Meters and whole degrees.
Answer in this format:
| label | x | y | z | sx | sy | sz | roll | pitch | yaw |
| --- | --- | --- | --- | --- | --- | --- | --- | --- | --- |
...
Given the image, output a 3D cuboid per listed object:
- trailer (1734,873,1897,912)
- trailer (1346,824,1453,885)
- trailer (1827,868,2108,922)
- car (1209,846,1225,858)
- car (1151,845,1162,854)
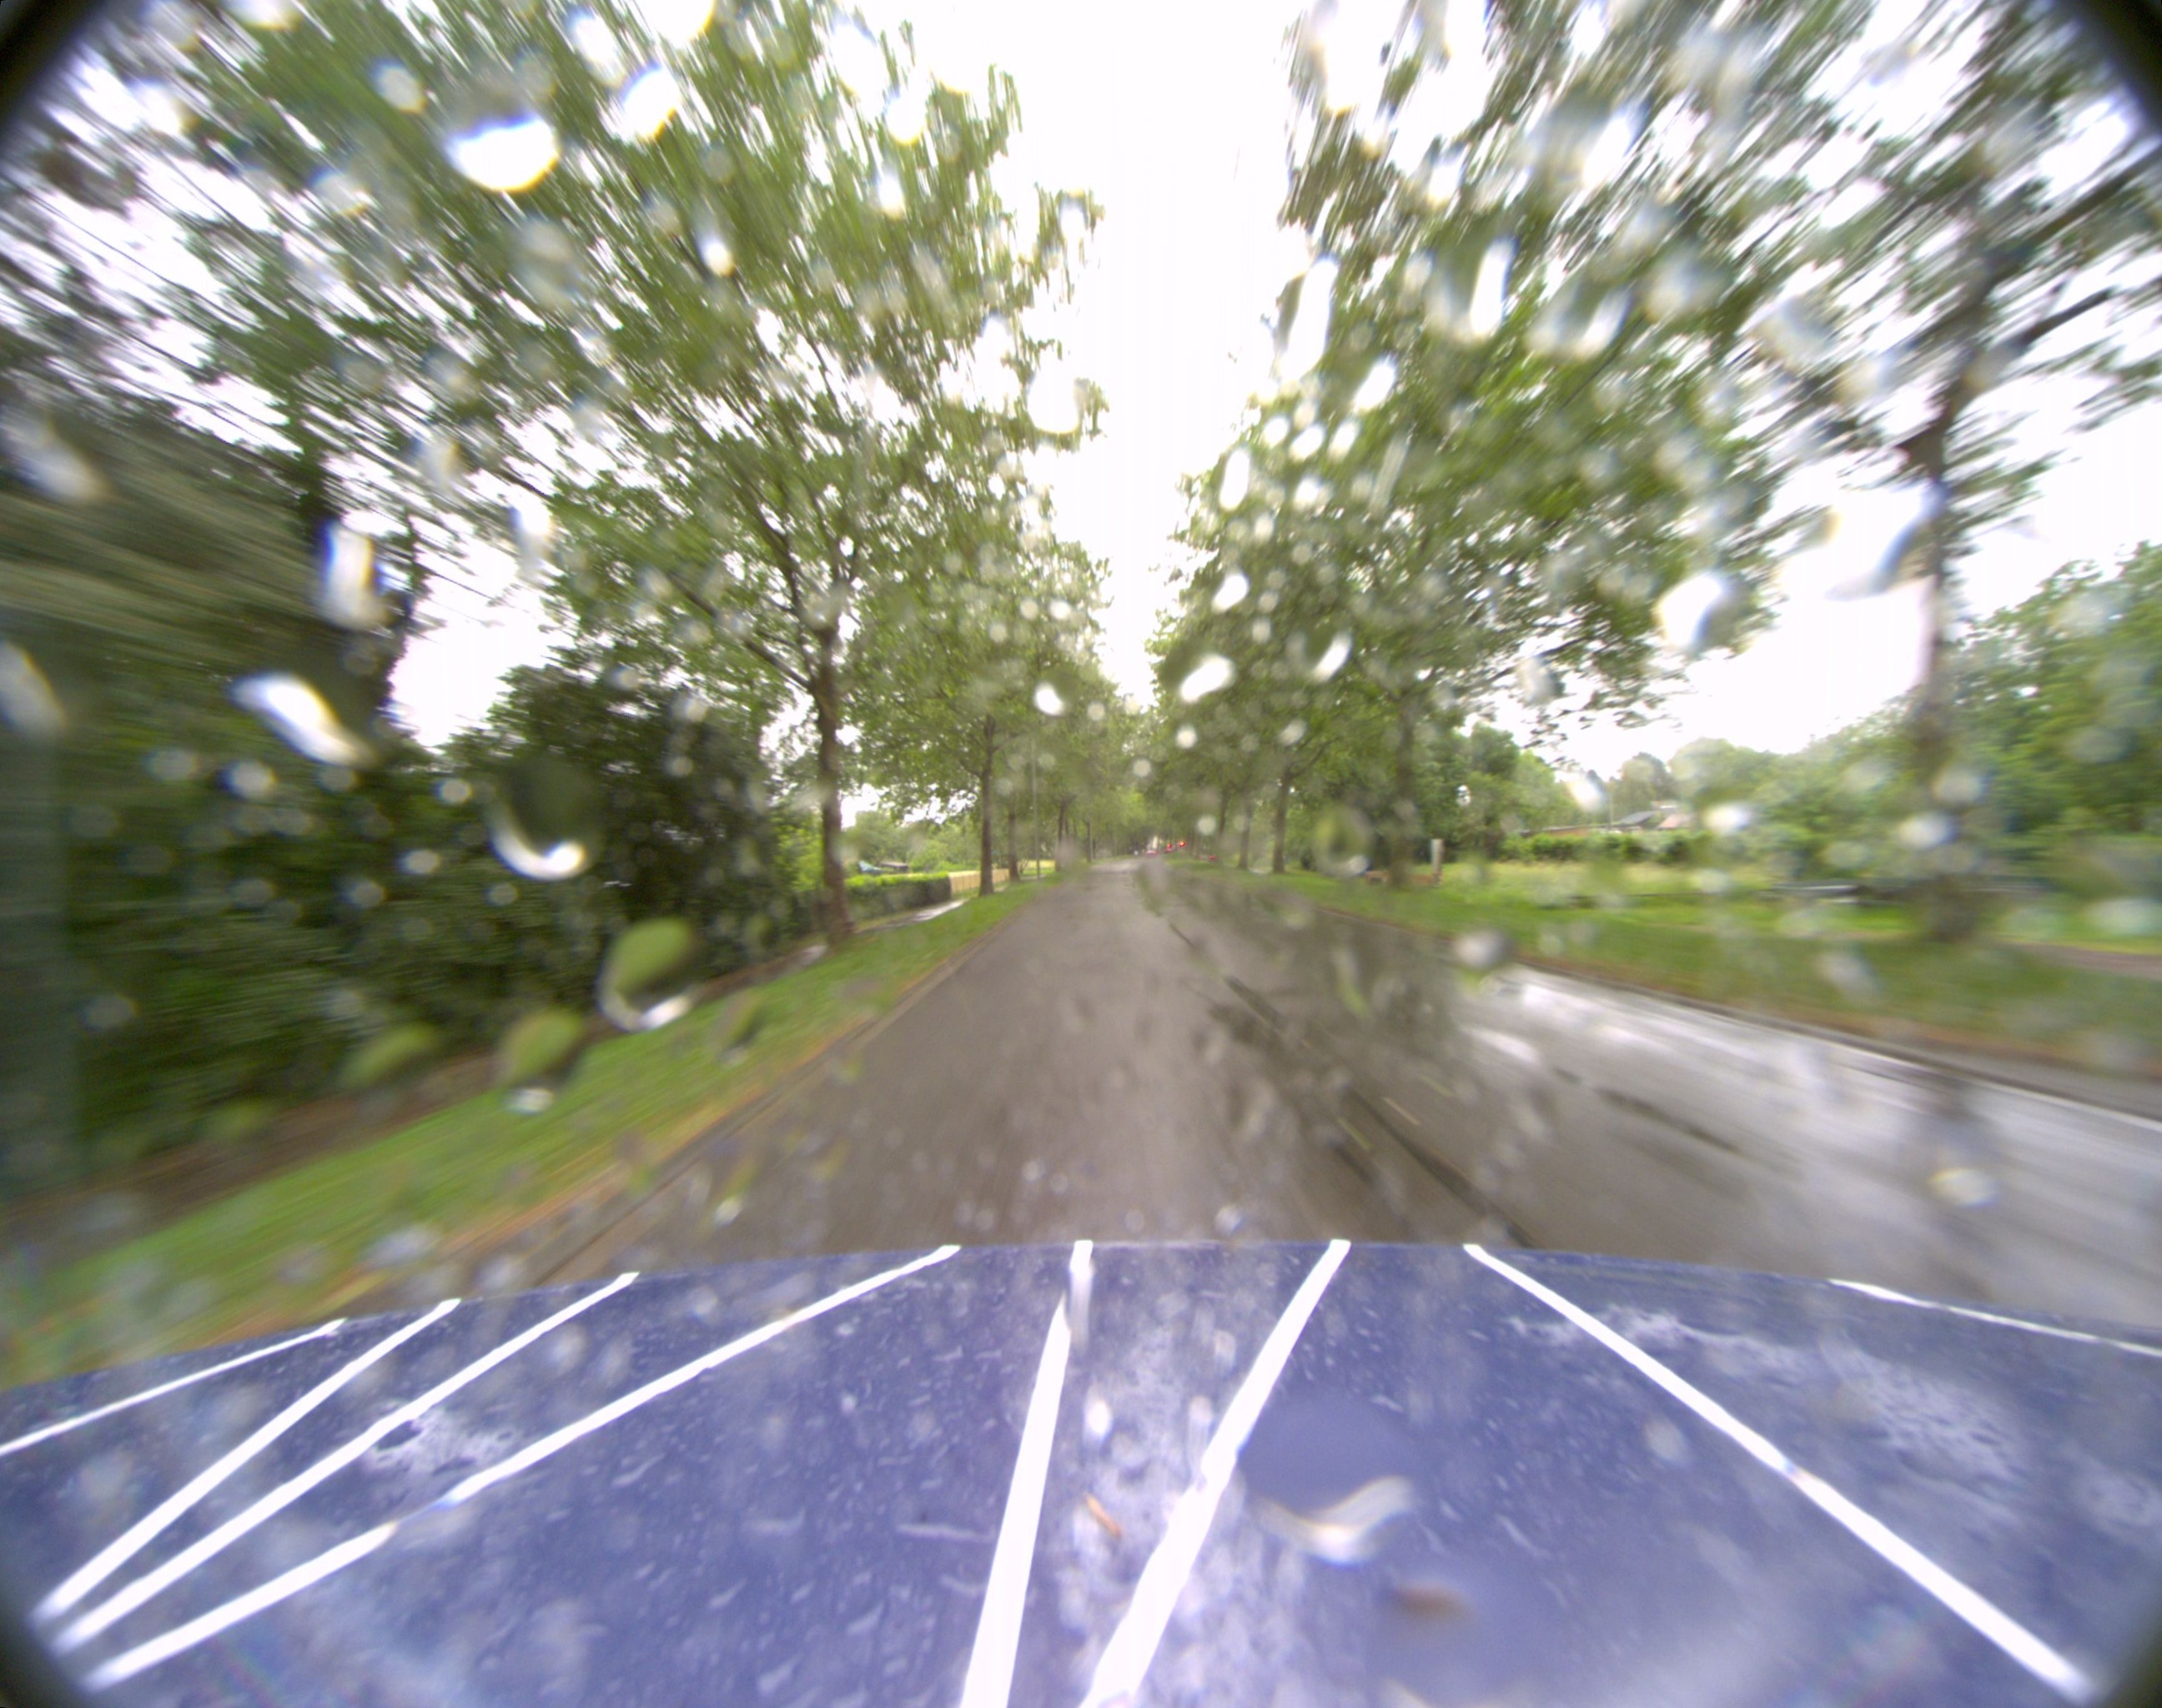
| label | x | y | z | sx | sy | sz | roll | pitch | yaw |
| --- | --- | --- | --- | --- | --- | --- | --- | --- | --- |
| trailer | 21.703 | 1.111 | 22.543 | 3.082 | 0.939 | 1.768 | -2 | 1 | 2 |
| trailer | 15.512 | -0.031 | 37.555 | 2.804 | 2.648 | 6.653 | -2 | 1 | 3 |
| trailer | 22.247 | 0.995 | 19.253 | 4.327 | 1.026 | 2.382 | -2 | 1 | 1 |
| car | 19.822 | -0.329 | 110.429 | 1.896 | 1.672 | 4.004 | -2 | 1 | 16 |
| car | 12.555 | -0.796 | 126.406 | 1.593 | 1.445 | 3.373 | -2 | 1 | 2 |
